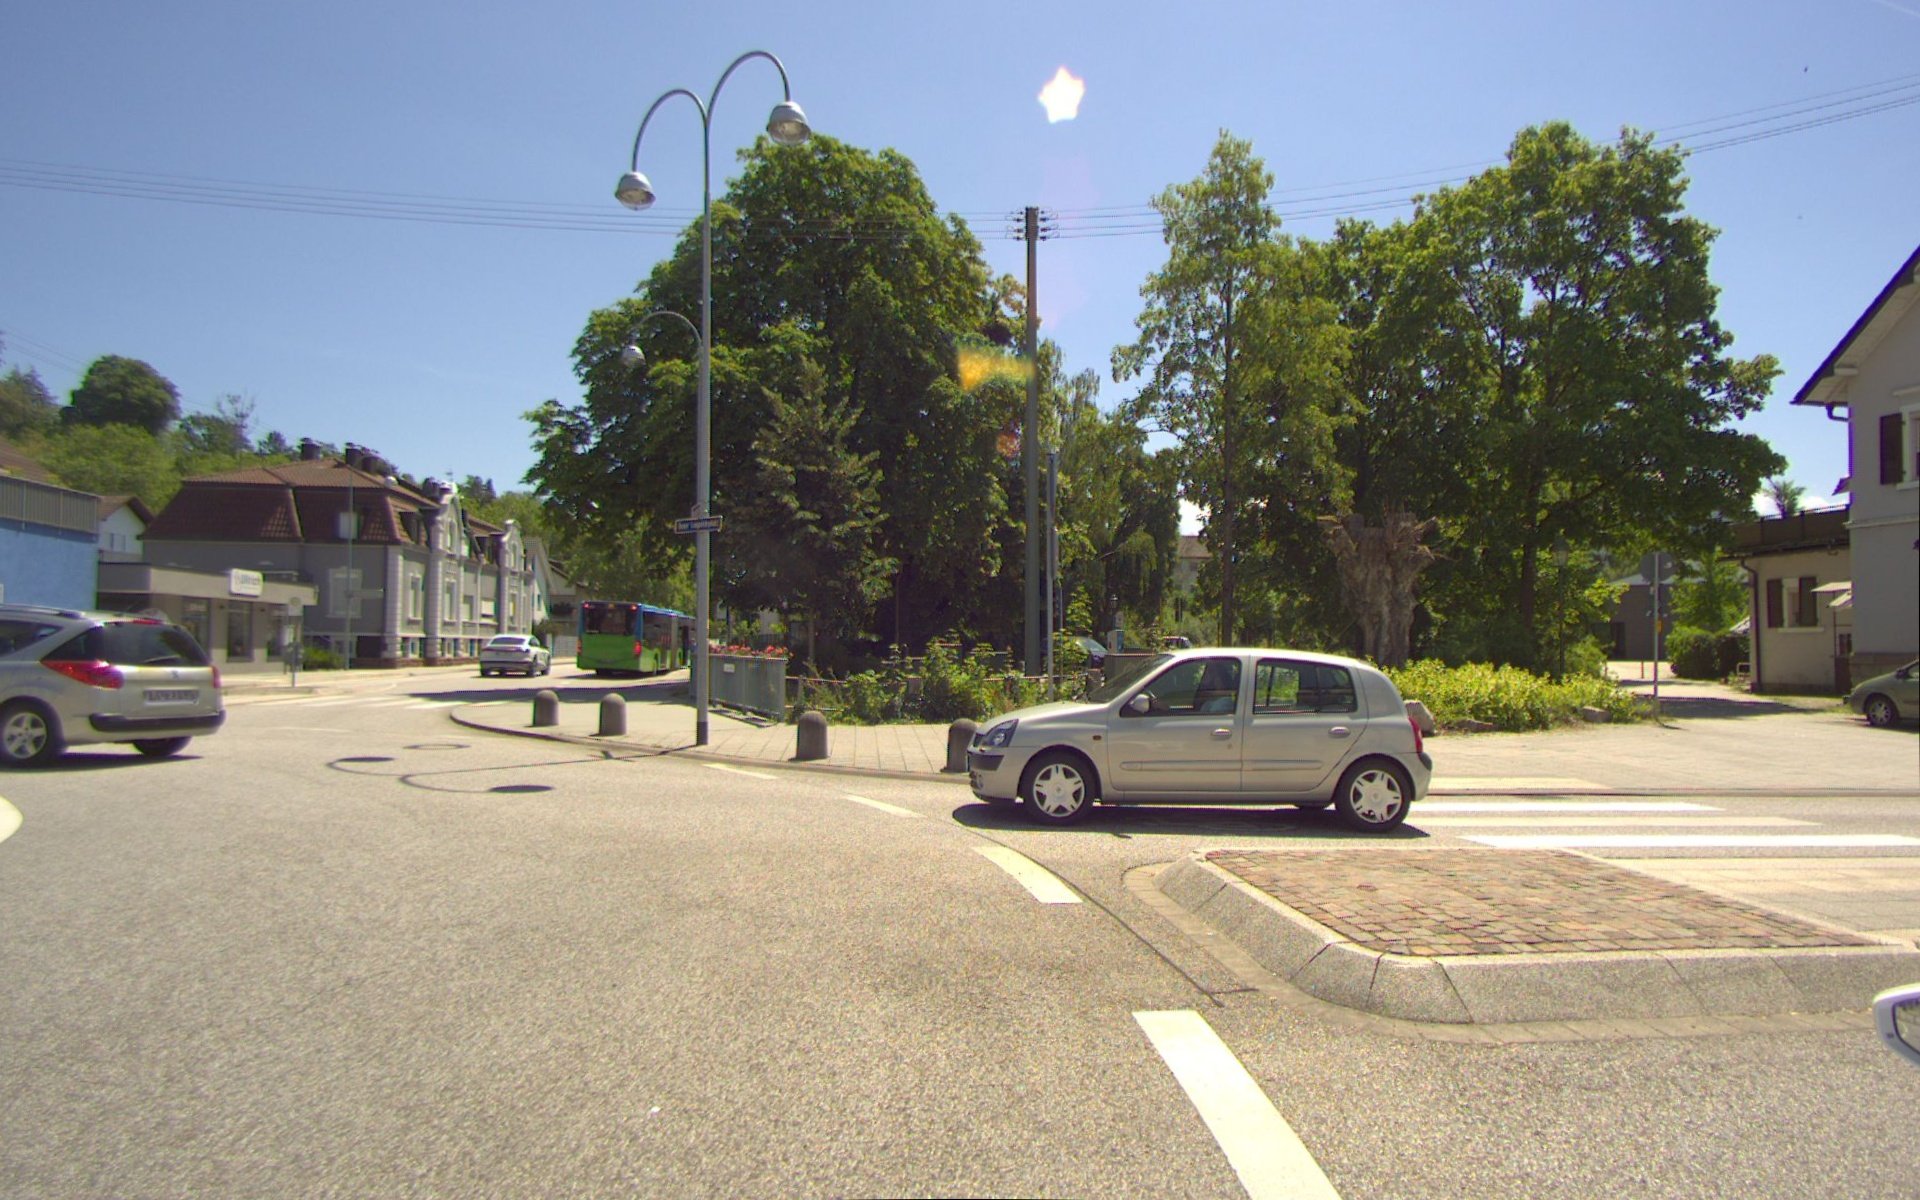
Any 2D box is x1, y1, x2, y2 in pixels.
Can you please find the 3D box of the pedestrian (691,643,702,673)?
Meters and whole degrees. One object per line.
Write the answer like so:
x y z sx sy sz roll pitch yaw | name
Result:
-13.571 2.999 51.770 0.482 1.542 0.541 1 -2 -14 | pedestrian

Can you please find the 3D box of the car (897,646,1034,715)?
0.129 1.946 24.895 3.015 1.573 1.626 1 -2 -22 | car

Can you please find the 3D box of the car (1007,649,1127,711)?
3.872 2.851 36.501 3.942 2.040 1.990 -1 -3 42 | car

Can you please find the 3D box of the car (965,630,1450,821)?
1.890 1.012 8.409 3.646 1.430 1.550 0 -4 -2 | car

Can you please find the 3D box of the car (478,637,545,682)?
-17.524 2.291 39.422 1.874 1.683 4.393 1 -2 -17 | car

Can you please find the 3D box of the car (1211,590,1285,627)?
16.301 0.514 56.813 3.920 2.040 2.001 -1 -2 18 | car

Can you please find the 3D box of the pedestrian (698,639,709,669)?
-12.886 2.706 50.470 0.482 1.473 0.529 1 -2 -14 | pedestrian

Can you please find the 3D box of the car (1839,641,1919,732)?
18.443 1.575 17.966 1.725 1.661 3.997 1 -2 -6 | car

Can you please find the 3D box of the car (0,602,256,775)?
-9.761 0.827 10.052 4.124 1.536 1.747 1 -4 2 | car

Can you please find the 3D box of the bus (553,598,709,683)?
-15.231 2.014 48.709 3.650 3.212 18.053 2 -3 -7 | bus
